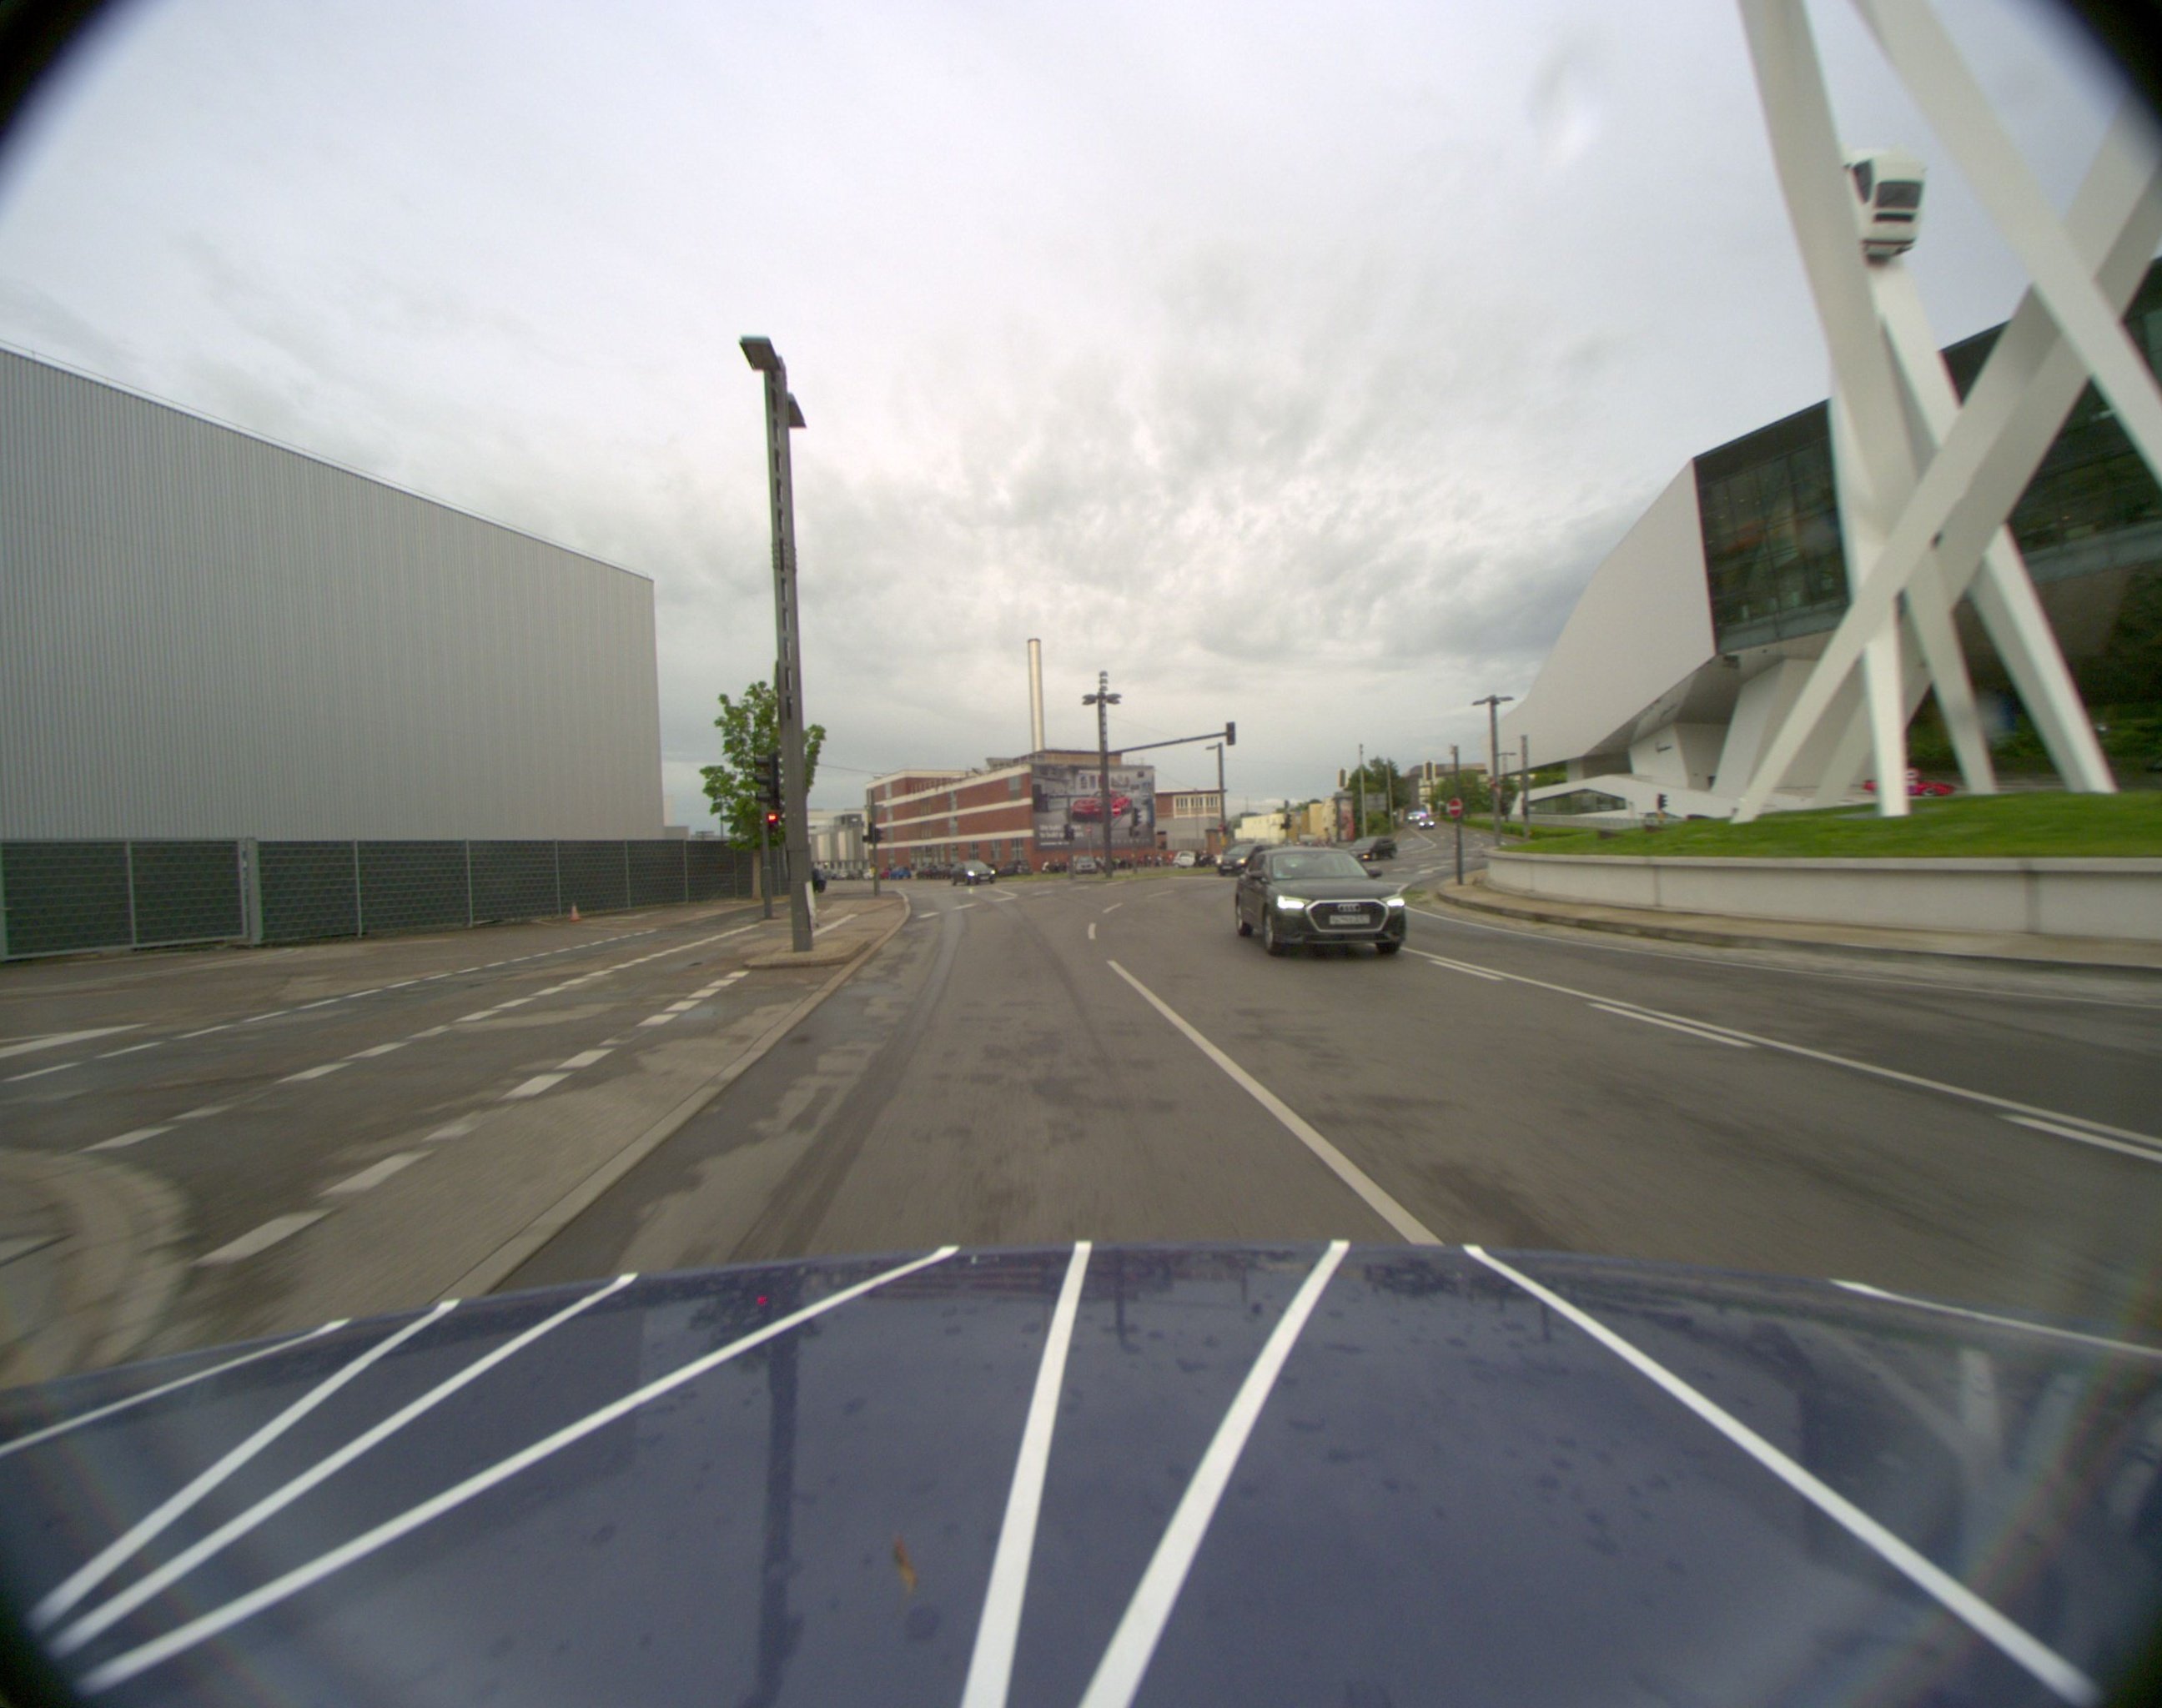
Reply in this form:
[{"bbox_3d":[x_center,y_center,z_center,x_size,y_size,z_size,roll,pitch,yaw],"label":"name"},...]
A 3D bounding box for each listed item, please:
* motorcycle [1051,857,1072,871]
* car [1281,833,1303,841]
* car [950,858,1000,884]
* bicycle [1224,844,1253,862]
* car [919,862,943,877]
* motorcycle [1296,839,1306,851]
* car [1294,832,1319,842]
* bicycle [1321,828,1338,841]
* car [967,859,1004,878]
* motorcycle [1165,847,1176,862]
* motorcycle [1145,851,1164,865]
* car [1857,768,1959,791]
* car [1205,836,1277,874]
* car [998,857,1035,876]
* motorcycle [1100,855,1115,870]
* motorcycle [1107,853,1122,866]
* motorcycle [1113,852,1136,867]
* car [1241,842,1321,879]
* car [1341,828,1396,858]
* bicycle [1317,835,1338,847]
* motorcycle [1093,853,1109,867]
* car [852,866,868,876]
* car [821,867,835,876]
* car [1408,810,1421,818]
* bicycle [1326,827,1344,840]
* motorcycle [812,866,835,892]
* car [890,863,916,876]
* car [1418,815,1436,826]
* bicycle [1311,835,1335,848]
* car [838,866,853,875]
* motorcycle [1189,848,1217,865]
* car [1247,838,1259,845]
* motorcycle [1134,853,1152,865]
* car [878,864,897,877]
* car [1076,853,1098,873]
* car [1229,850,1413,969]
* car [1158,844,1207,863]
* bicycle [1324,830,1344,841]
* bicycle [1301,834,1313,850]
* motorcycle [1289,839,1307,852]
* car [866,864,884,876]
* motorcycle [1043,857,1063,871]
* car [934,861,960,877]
[{"bbox_3d":[-1.715,0.866,66.771,1.603,1.114,0.543,-6,3,-23],"label":"motorcycle"},{"bbox_3d":[40.810,-3.282,146.927,3.994,1.417,1.721,-3,1,9],"label":"car"},{"bbox_3d":[-6.461,1.004,45.985,1.723,1.417,3.992,-4,1,-27],"label":"car"},{"bbox_3d":[11.482,-0.064,55.263,2.075,1.124,0.421,-6,3,-20],"label":"bicycle"},{"bbox_3d":[-15.901,1.640,80.639,1.461,1.435,3.381,-6,2,-28],"label":"car"},{"bbox_3d":[17.934,-0.767,61.917,0.433,0.885,1.266,-2,3,30],"label":"motorcycle"},{"bbox_3d":[39.574,-2.939,133.501,3.994,1.417,1.721,-3,1,9],"label":"car"},{"bbox_3d":[22.982,-1.842,70.295,1.541,1.149,0.451,-1,5,18],"label":"bicycle"},{"bbox_3d":[-8.665,1.305,68.481,1.570,1.435,4.096,-6,3,-32],"label":"car"},{"bbox_3d":[8.784,0.036,74.257,0.523,1.326,1.671,-4,2,23],"label":"motorcycle"},{"bbox_3d":[7.013,0.385,72.376,1.716,1.146,0.586,-3,3,39],"label":"motorcycle"},{"bbox_3d":[56.630,-5.134,52.129,2.002,1.378,4.232,-4,9,-23],"label":"car"},{"bbox_3d":[8.059,0.027,38.095,1.690,1.499,4.017,-2,3,41],"label":"car"},{"bbox_3d":[-5.468,1.045,64.010,2.744,1.484,1.557,-3,-1,39],"label":"car"},{"bbox_3d":[2.175,0.679,61.999,0.495,1.140,1.720,-6,2,-21],"label":"motorcycle"},{"bbox_3d":[3.046,0.482,68.414,0.477,1.113,1.806,-6,2,-25],"label":"motorcycle"},{"bbox_3d":[3.700,0.455,64.441,1.867,1.105,0.543,-6,3,-31],"label":"motorcycle"},{"bbox_3d":[8.788,0.252,33.140,1.813,1.430,4.310,0,2,38],"label":"car"},{"bbox_3d":[17.973,-0.707,47.381,1.745,1.466,4.075,-3,3,42],"label":"car"},{"bbox_3d":[20.532,-1.119,63.251,1.612,0.916,0.422,-2,2,35],"label":"bicycle"},{"bbox_3d":[1.793,0.546,67.320,0.545,1.174,1.709,-6,3,-27],"label":"motorcycle"},{"bbox_3d":[-31.192,2.386,107.268,1.461,1.234,3.363,-6,2,-28],"label":"car"},{"bbox_3d":[-40.611,2.854,121.819,1.461,1.234,3.363,-6,2,-28],"label":"car"},{"bbox_3d":[66.569,-8.024,151.622,1.814,1.430,4.307,-2,1,18],"label":"car"},{"bbox_3d":[22.918,-1.883,68.481,1.462,1.068,0.443,-3,4,-8],"label":"bicycle"},{"bbox_3d":[-13.472,1.297,39.695,0.656,1.303,2.096,-3,0,-30],"label":"motorcycle"},{"bbox_3d":[-20.988,1.835,89.651,1.699,1.435,3.380,-7,3,-35],"label":"car"},{"bbox_3d":[49.735,-4.773,109.173,1.814,1.430,4.307,-2,1,18],"label":"car"},{"bbox_3d":[19.336,-1.007,60.810,1.741,0.956,0.422,-2,3,31],"label":"bicycle"},{"bbox_3d":[-34.908,2.408,112.692,1.461,1.234,3.363,-6,2,-28],"label":"car"},{"bbox_3d":[9.119,0.184,56.737,2.089,1.139,0.489,-3,3,44],"label":"motorcycle"},{"bbox_3d":[40.686,-2.973,179.591,1.719,1.417,3.999,-4,1,-1],"label":"car"},{"bbox_3d":[5.852,0.475,71.426,1.612,0.968,0.542,-3,3,39],"label":"motorcycle"},{"bbox_3d":[-23.954,2.036,94.054,1.461,1.435,3.381,-6,2,-28],"label":"car"},{"bbox_3d":[0.454,0.687,61.751,1.624,1.495,3.246,-3,1,-2],"label":"car"},{"bbox_3d":[3.548,0.715,12.090,1.756,1.509,4.395,-1,1,3],"label":"car"},{"bbox_3d":[9.119,-0.066,68.602,3.990,1.480,1.570,-3,1,32],"label":"car"},{"bbox_3d":[22.996,-1.688,69.120,1.705,0.917,0.485,-4,3,-13],"label":"bicycle"},{"bbox_3d":[17.904,-0.954,60.168,0.399,1.169,2.018,-2,3,32],"label":"bicycle"},{"bbox_3d":[17.300,-0.684,60.500,1.747,0.890,0.546,-7,4,-44],"label":"motorcycle"},{"bbox_3d":[-26.936,2.106,99.431,1.461,1.368,3.381,-6,2,-28],"label":"car"},{"bbox_3d":[-2.467,0.883,67.489,1.649,1.105,0.543,-6,3,-23],"label":"motorcycle"},{"bbox_3d":[-13.492,1.475,76.151,1.461,1.435,3.457,-6,2,-28],"label":"car"}]
